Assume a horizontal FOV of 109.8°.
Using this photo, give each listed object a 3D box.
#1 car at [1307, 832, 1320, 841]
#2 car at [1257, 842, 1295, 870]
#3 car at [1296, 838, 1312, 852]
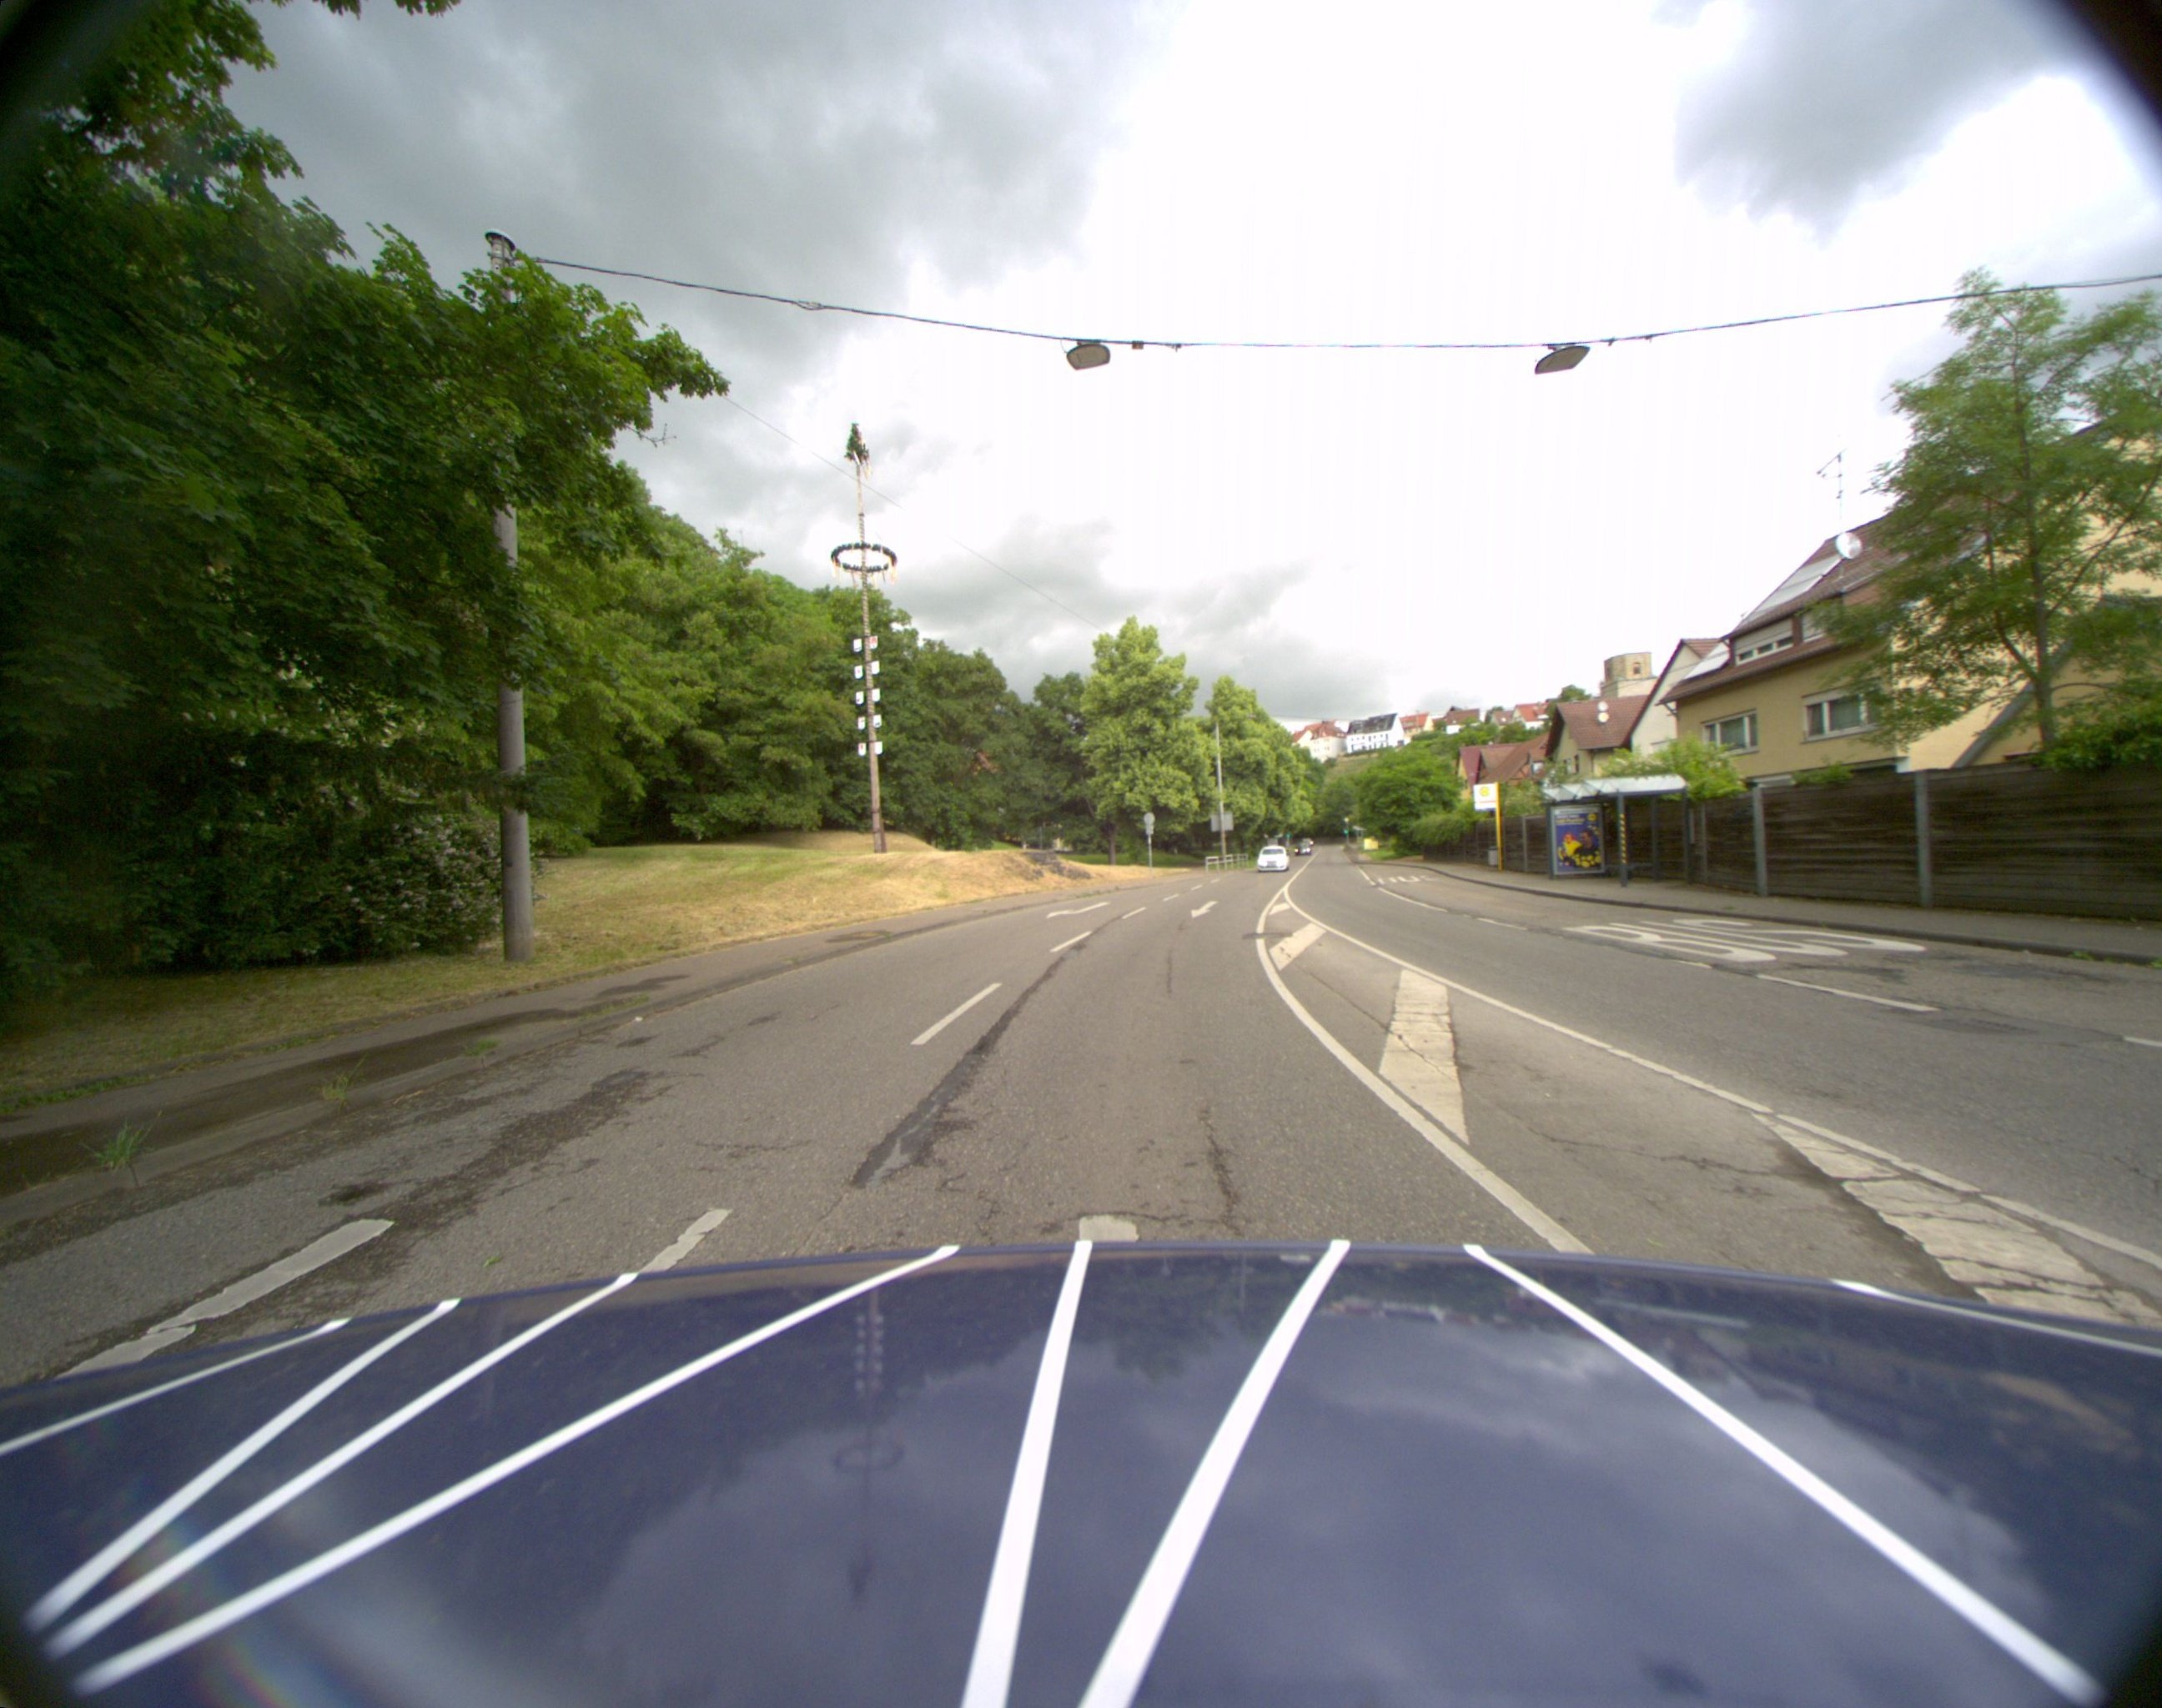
[{"bbox_3d":[44.621,-3.344,145.881,1.762,1.575,3.685,-2,1,8],"label":"car"},{"bbox_3d":[11.619,0.121,45.146,1.761,1.516,3.688,-2,1,20],"label":"car"},{"bbox_3d":[26.010,-1.050,88.507,1.761,1.575,3.687,-2,1,17],"label":"car"}]
